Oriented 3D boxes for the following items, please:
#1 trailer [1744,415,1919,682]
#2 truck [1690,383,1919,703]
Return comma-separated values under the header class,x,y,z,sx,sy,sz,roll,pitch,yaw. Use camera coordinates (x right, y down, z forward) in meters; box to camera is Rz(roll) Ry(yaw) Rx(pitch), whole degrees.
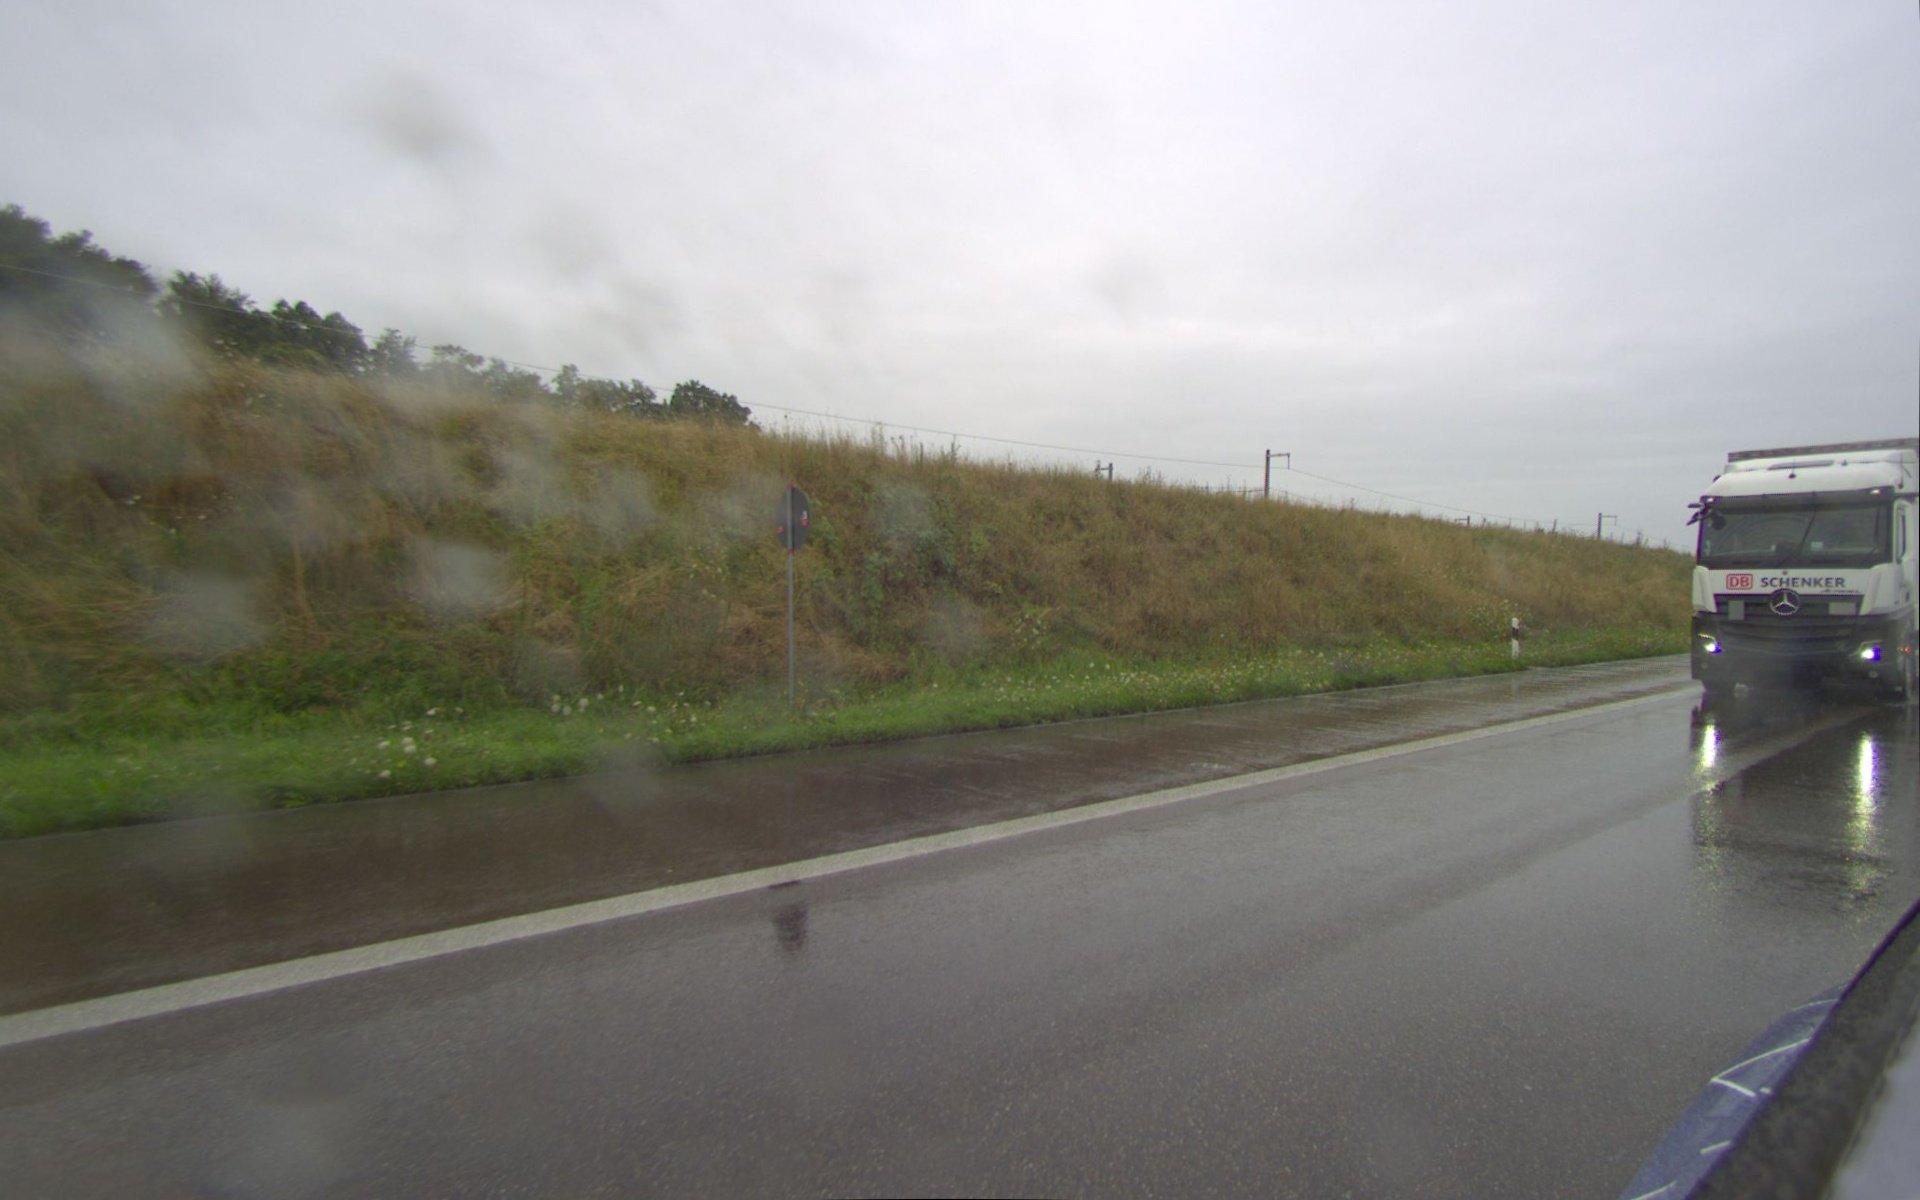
class,x,y,z,sx,sy,sz,roll,pitch,yaw
trailer,20.108,-0.902,21.617,13.929,4.302,2.631,-1,0,-41
truck,13.979,-0.802,16.258,4.956,4.307,2.630,-1,0,-41
